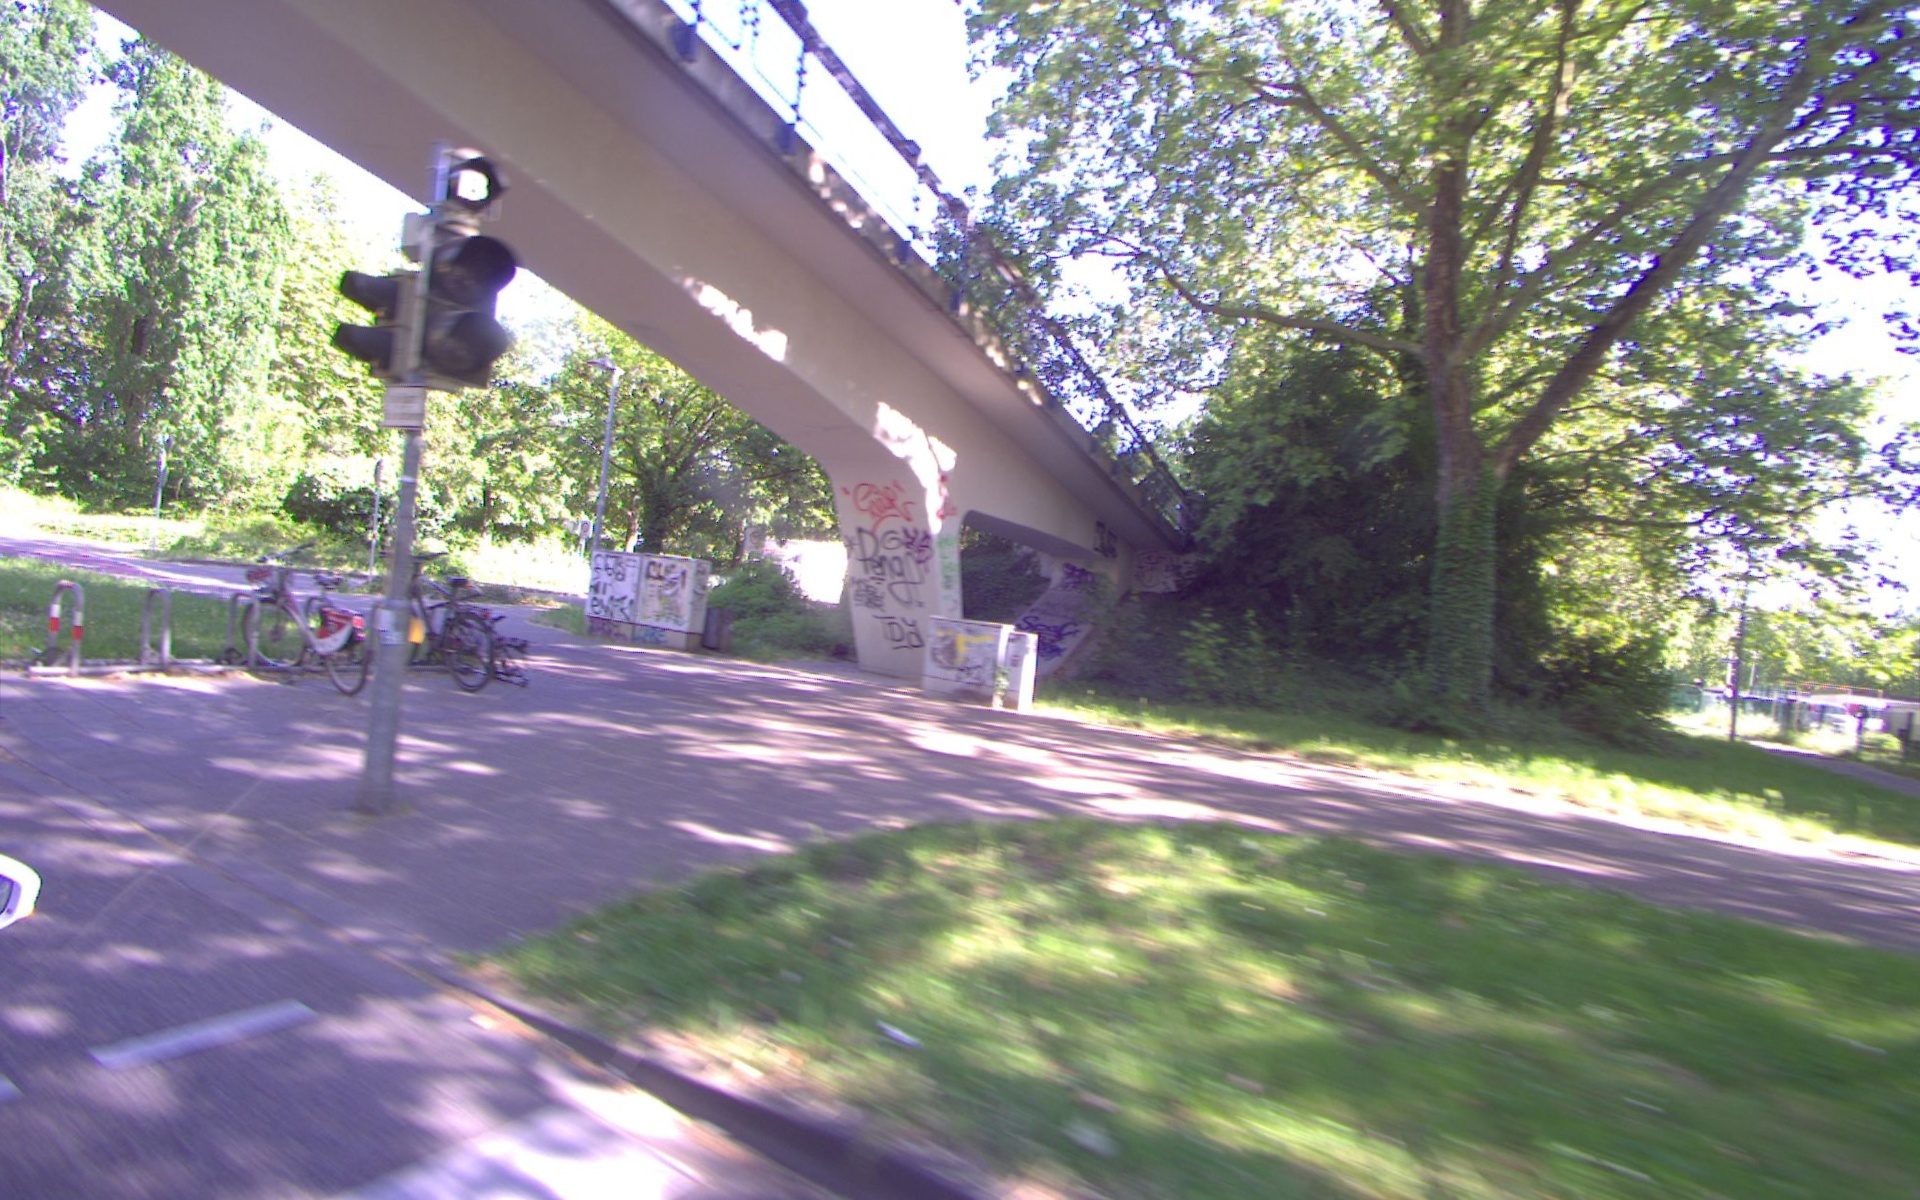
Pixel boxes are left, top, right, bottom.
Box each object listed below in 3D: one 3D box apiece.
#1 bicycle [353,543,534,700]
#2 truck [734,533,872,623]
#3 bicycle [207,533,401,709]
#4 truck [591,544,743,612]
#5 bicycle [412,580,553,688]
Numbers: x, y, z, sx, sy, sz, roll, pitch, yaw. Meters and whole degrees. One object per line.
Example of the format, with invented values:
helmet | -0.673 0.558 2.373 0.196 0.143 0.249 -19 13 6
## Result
bicycle | -4.833 0.169 9.369 1.770 1.199 0.590 8 4 31
truck | -7.724 -0.993 50.786 2.576 3.671 7.952 7 -1 25
bicycle | -5.487 0.139 8.378 1.770 1.199 0.590 8 4 31
truck | -12.012 -0.833 41.914 2.082 2.119 6.644 7 -1 24
bicycle | -4.766 0.316 10.009 1.448 0.864 0.505 8 4 31
